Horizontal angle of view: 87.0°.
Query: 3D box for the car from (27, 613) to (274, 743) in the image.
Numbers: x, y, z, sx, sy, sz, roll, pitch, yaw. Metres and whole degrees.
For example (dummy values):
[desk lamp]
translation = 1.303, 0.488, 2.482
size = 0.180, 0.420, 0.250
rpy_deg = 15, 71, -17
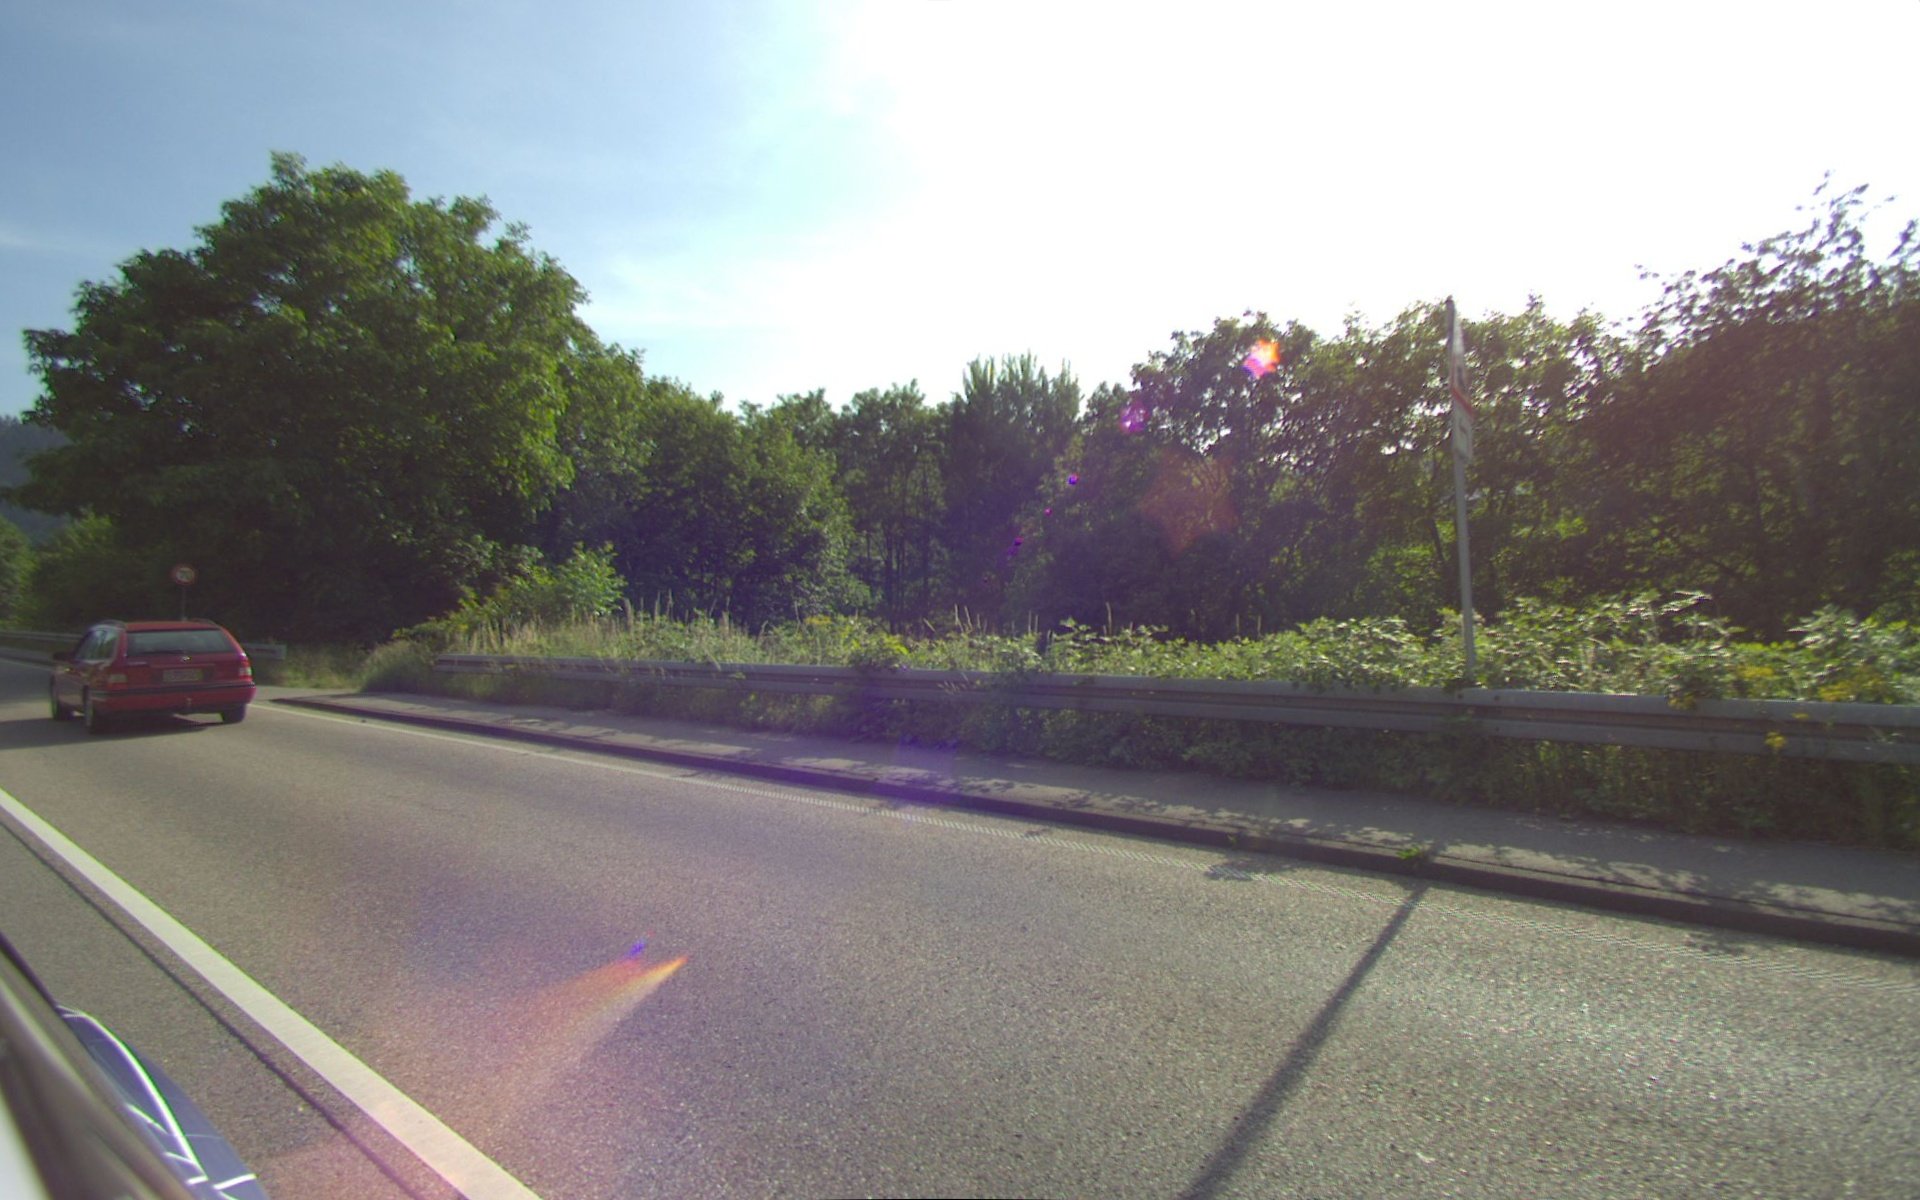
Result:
[car]
translation = -11.506, 0.981, 14.240
size = 4.940, 1.481, 1.823
rpy_deg = -2, 0, 41
